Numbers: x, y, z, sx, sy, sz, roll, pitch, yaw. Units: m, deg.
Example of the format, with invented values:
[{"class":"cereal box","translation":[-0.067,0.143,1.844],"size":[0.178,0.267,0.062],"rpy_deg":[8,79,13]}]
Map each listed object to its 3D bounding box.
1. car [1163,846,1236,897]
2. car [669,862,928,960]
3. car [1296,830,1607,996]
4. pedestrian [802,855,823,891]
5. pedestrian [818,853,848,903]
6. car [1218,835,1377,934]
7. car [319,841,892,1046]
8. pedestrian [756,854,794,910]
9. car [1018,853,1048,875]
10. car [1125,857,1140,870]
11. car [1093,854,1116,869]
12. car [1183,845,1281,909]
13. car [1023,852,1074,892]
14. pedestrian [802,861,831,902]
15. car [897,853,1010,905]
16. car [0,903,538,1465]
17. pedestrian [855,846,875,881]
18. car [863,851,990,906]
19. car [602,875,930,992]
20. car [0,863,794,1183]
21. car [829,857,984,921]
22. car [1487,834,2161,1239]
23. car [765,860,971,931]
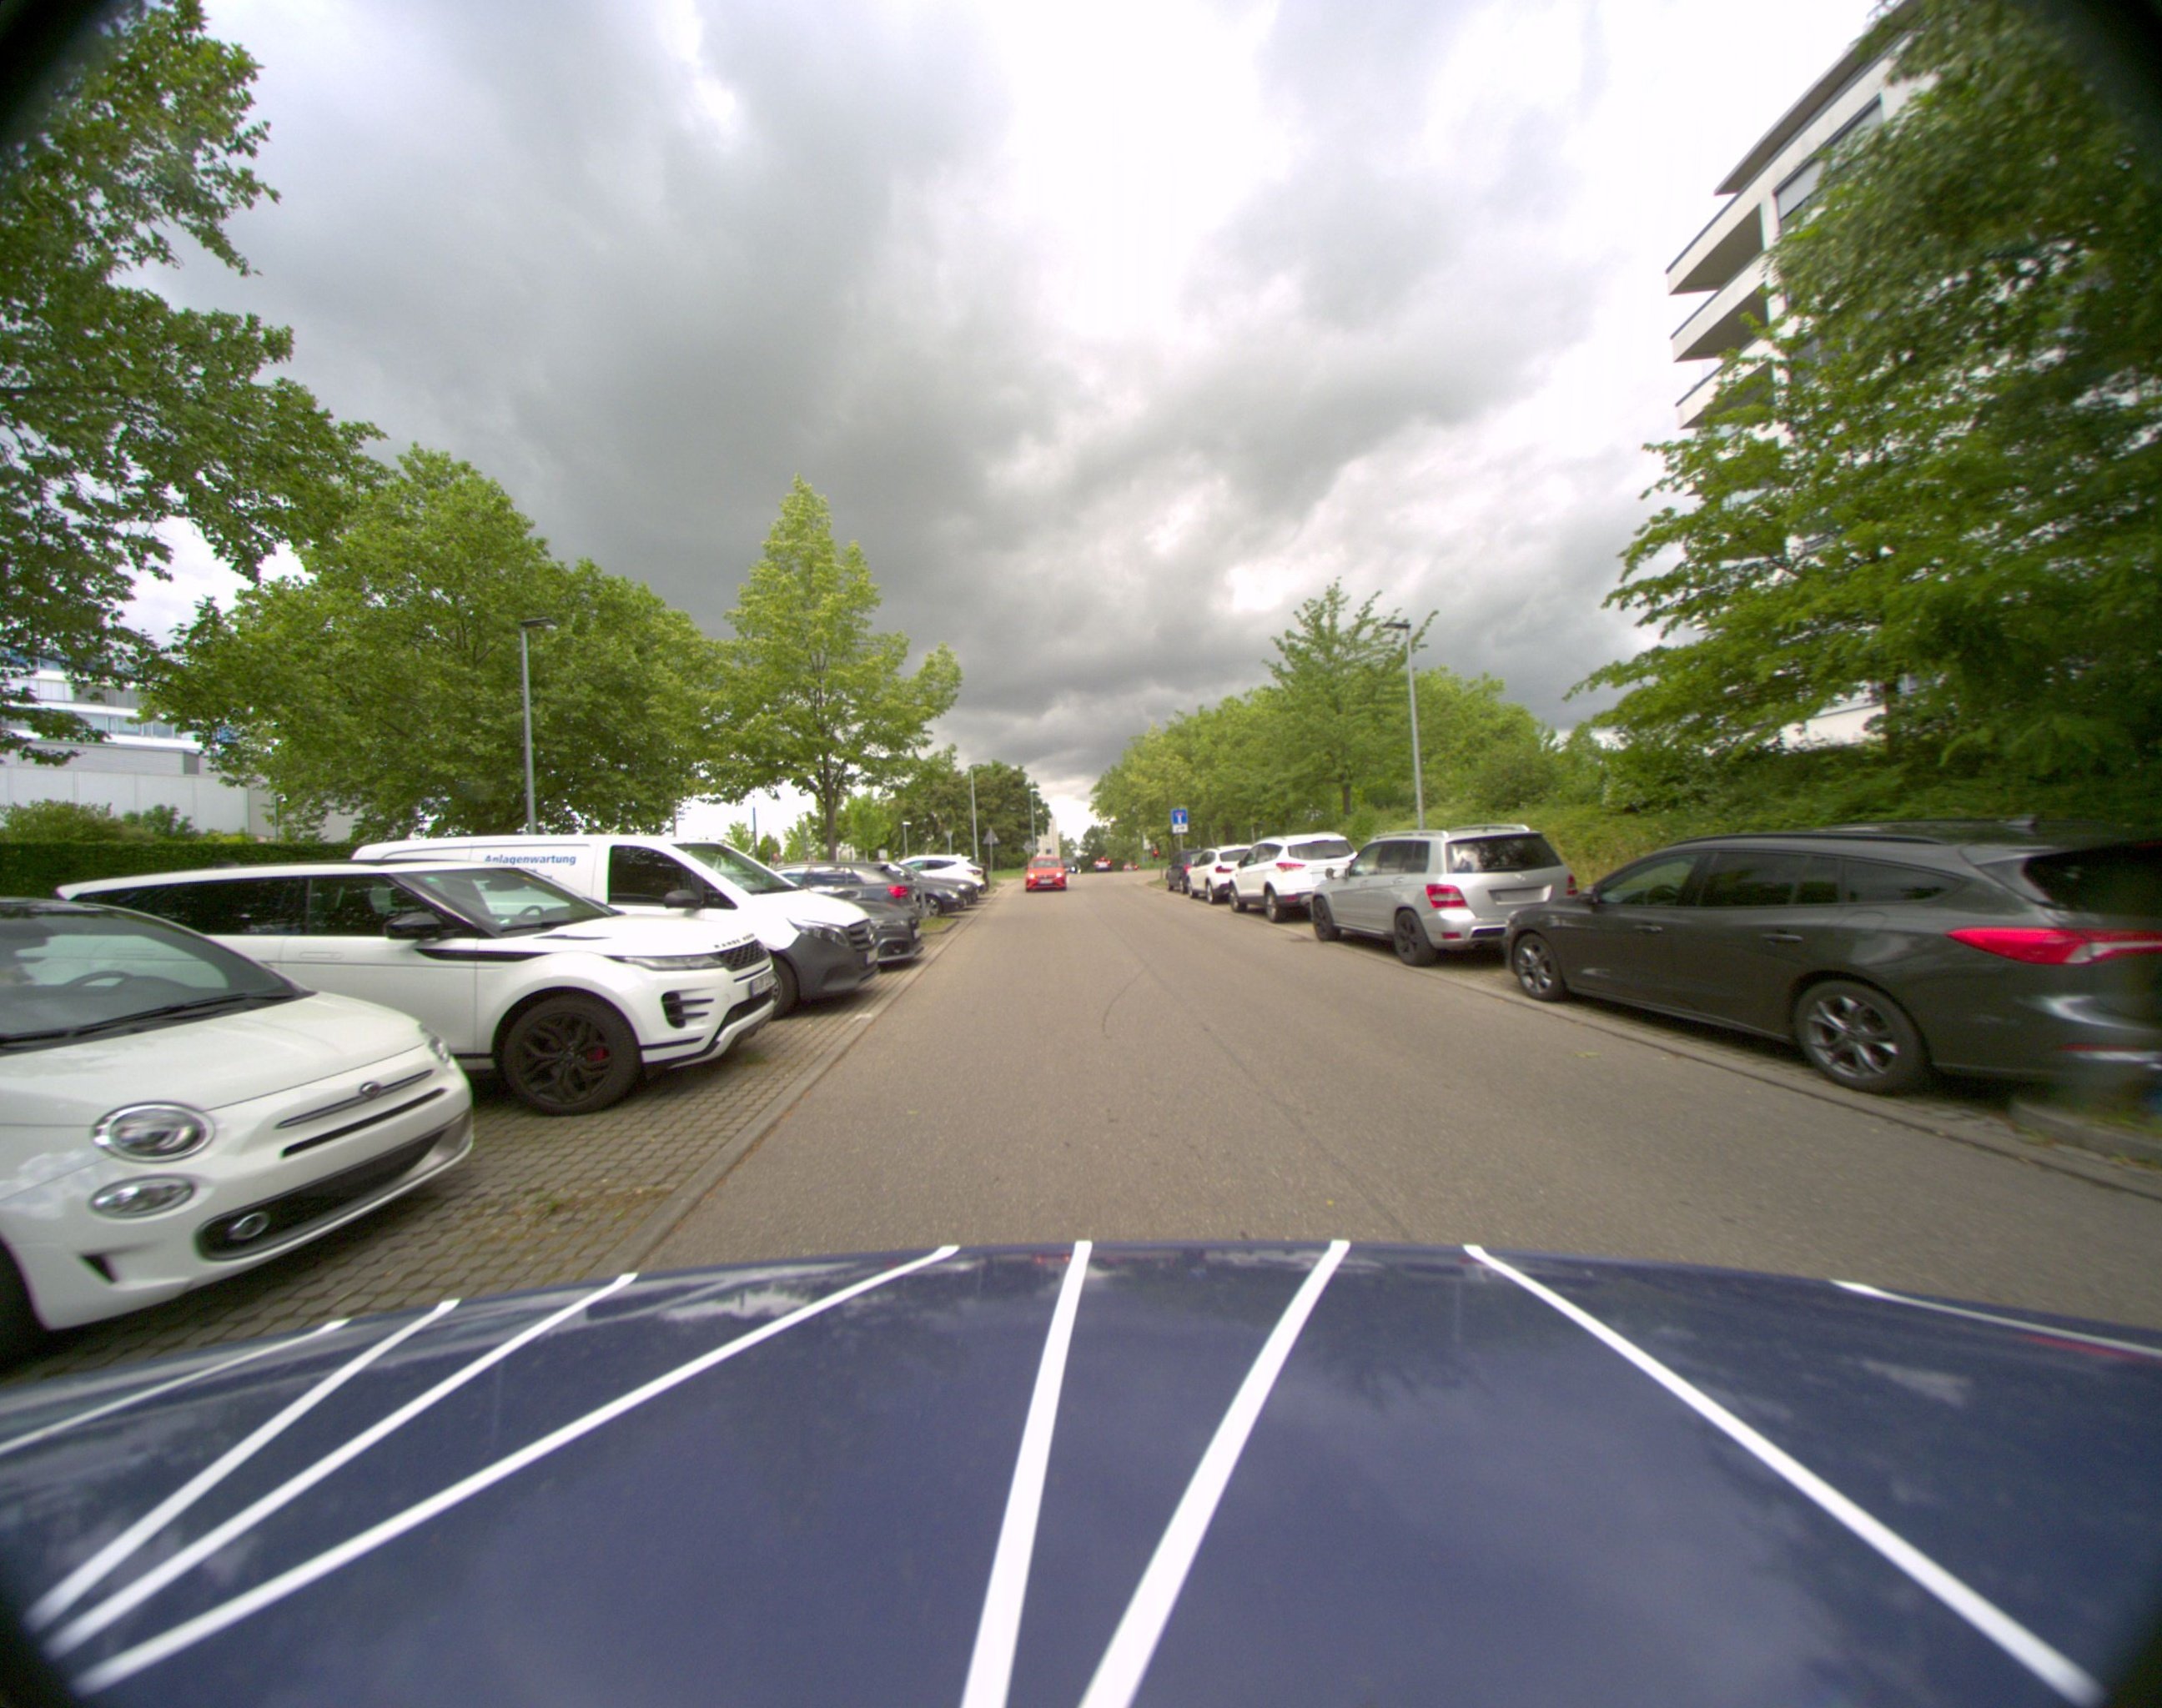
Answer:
[{"class":"car","translation":[4.070,0.587,26.727],"size":[1.694,1.479,3.953],"rpy_deg":[-6,0,-2]},{"class":"car","translation":[-4.782,0.934,13.349],"size":[3.835,1.511,1.911],"rpy_deg":[-1,0,-3]},{"class":"car","translation":[4.606,0.604,10.369],"size":[1.804,1.606,4.476],"rpy_deg":[-6,1,-2]},{"class":"pedestrian","translation":[-13.199,0.930,37.305],"size":[0.655,1.701,0.706],"rpy_deg":[-3,0,4]},{"class":"pedestrian","translation":[-9.067,0.872,27.846],"size":[0.741,1.782,0.878],"rpy_deg":[-3,0,-2]},{"class":"car","translation":[4.388,0.572,16.208],"size":[1.812,1.655,4.436],"rpy_deg":[-6,0,-3]},{"class":"car","translation":[-4.610,0.825,7.941],"size":[4.786,1.821,1.842],"rpy_deg":[-1,0,0]},{"class":"pedestrian","translation":[-10.138,0.912,25.226],"size":[0.833,1.782,0.878],"rpy_deg":[-3,0,-2]},{"class":"car","translation":[-3.526,0.697,56.413],"size":[1.758,1.506,4.001],"rpy_deg":[-3,0,3]},{"class":"car","translation":[6.747,1.233,99.456],"size":[1.758,1.506,4.001],"rpy_deg":[-3,0,3]},{"class":"car","translation":[2.555,0.838,84.401],"size":[1.902,1.573,4.165],"rpy_deg":[2,-1,-7]},{"class":"car","translation":[4.186,0.610,21.749],"size":[1.694,1.502,4.229],"rpy_deg":[-6,0,-2]},{"class":"car","translation":[-1.338,0.752,32.765],"size":[1.758,1.506,4.001],"rpy_deg":[-3,-1,3]},{"class":"pedestrian","translation":[-10.637,1.097,30.593],"size":[0.690,1.611,0.929],"rpy_deg":[-3,0,-45]},{"class":"car","translation":[-4.470,0.850,26.972],"size":[3.679,1.566,1.592],"rpy_deg":[-2,3,0]},{"class":"car","translation":[-4.516,1.037,2.916],"size":[3.521,1.453,1.738],"rpy_deg":[-2,0,-2]},{"class":"pedestrian","translation":[-9.354,0.399,32.893],"size":[0.620,1.460,0.736],"rpy_deg":[-3,0,-2]},{"class":"car","translation":[-4.888,0.758,24.376],"size":[3.679,1.637,1.852],"rpy_deg":[1,0,0]},{"class":"car","translation":[-4.193,1.035,10.662],"size":[3.835,1.363,1.842],"rpy_deg":[-1,0,-5]},{"class":"car","translation":[-4.423,0.969,5.246],"size":[4.162,1.593,1.738],"rpy_deg":[-3,0,-4]},{"class":"car","translation":[-4.896,0.969,21.833],"size":[3.998,1.510,1.883],"rpy_deg":[-3,1,-4]},{"class":"car","translation":[4.916,0.710,5.157],"size":[1.694,1.456,4.455],"rpy_deg":[-6,0,-2]},{"class":"car","translation":[-5.139,0.979,18.884],"size":[4.588,1.483,1.951],"rpy_deg":[-2,1,-5]}]
